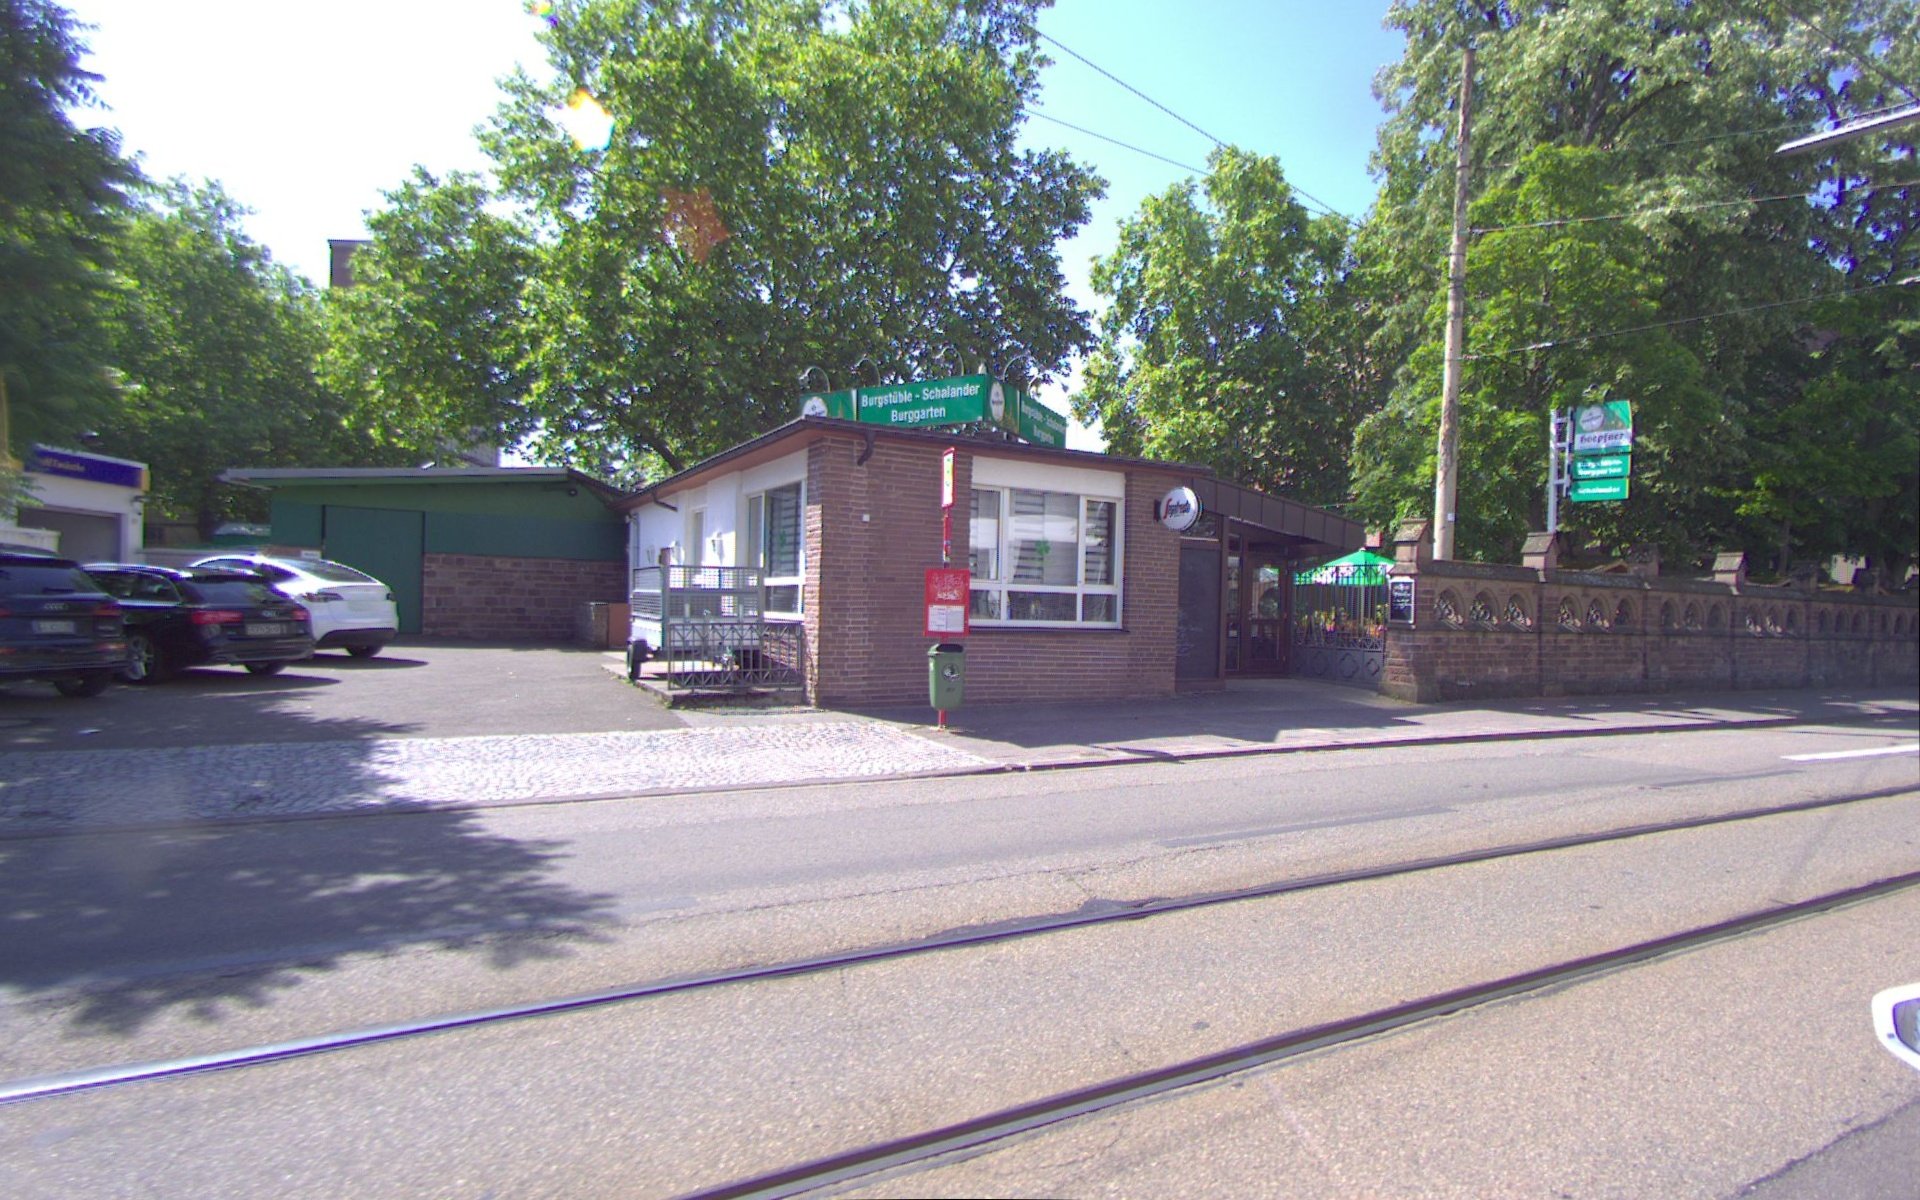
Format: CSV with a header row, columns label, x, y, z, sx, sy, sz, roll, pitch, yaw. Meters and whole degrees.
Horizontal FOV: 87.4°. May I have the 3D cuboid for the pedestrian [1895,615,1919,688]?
label,x,y,z,sx,sy,sz,roll,pitch,yaw
pedestrian,25.016,1.350,25.823,1.170,1.840,0.972,2,4,-29

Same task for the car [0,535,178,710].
label,x,y,z,sx,sy,sz,roll,pitch,yaw
car,-11.173,0.140,10.772,4.565,1.662,2.021,2,1,15

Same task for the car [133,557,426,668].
label,x,y,z,sx,sy,sz,roll,pitch,yaw
car,-11.133,0.168,16.508,3.919,1.578,1.848,2,1,15

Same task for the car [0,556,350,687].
label,x,y,z,sx,sy,sz,roll,pitch,yaw
car,-10.561,0.236,13.460,3.919,1.493,1.848,2,1,15

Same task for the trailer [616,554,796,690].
label,x,y,z,sx,sy,sz,roll,pitch,yaw
trailer,-3.609,0.255,13.902,1.702,1.624,3.261,2,0,-27
